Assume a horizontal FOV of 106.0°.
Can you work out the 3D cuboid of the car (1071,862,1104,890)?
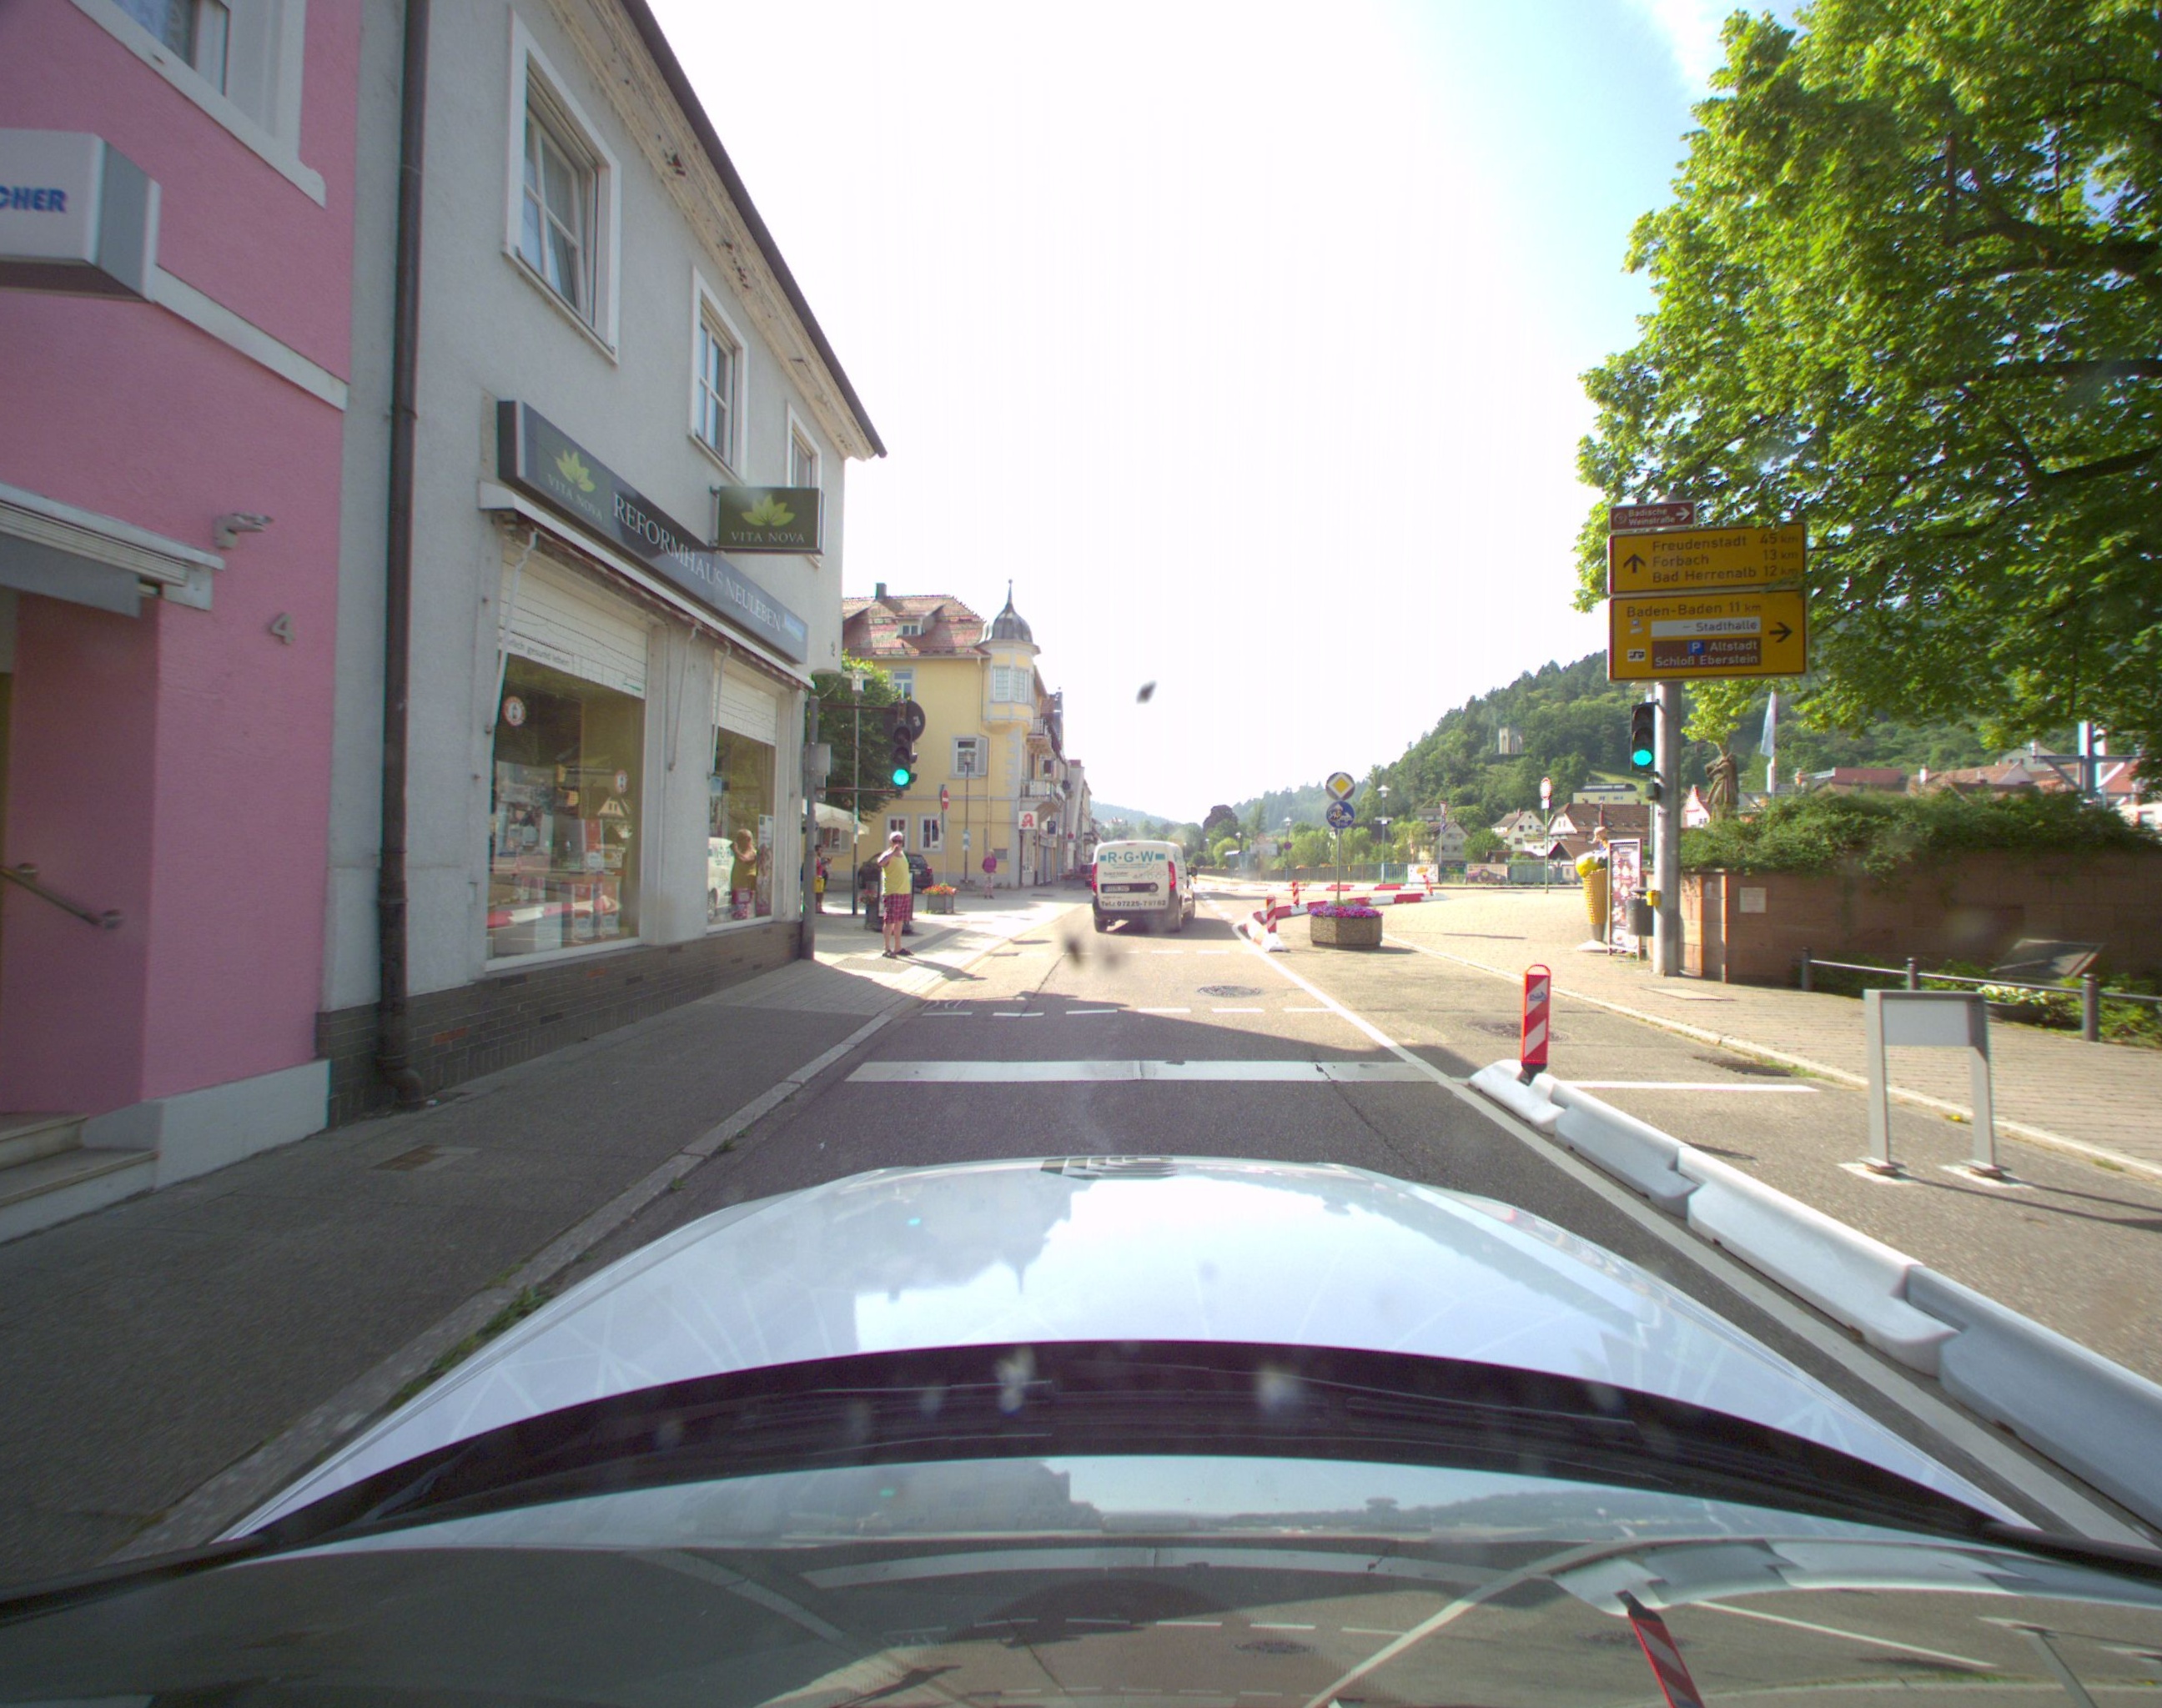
[{"bbox_3d":[0.396,1.233,46.797,1.840,1.568,3.569,0,-1,1],"label":"car"}]

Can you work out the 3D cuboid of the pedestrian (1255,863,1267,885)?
[{"bbox_3d":[14.207,1.563,64.343,0.863,1.706,0.778,1,-1,4],"label":"pedestrian"}]

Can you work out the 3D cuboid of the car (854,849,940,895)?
[{"bbox_3d":[-7.153,0.650,31.375,1.931,1.543,3.918,2,1,-34],"label":"car"}]

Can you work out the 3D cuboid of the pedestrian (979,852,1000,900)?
[{"bbox_3d":[-3.314,0.782,29.497,0.676,1.714,0.617,1,0,-2],"label":"pedestrian"}]

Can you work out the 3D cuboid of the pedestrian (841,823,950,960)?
[{"bbox_3d":[-2.679,0.526,11.811,1.008,1.815,0.913,5,-1,27],"label":"pedestrian"}]

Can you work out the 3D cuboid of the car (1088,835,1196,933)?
[{"bbox_3d":[1.482,0.594,18.041,1.832,1.906,4.328,0,0,12],"label":"car"}]

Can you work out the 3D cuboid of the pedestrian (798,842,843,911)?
[{"bbox_3d":[-6.391,0.566,20.000,0.566,1.659,0.887,1,-3,16],"label":"pedestrian"}]

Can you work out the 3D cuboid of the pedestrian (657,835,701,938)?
[{"bbox_3d":[-7.920,0.629,16.081,0.652,1.985,0.703,1,-1,-18],"label":"pedestrian"}]

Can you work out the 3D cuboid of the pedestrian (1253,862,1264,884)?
[{"bbox_3d":[14.151,1.517,64.999,0.786,1.706,0.492,1,-1,4],"label":"pedestrian"}]

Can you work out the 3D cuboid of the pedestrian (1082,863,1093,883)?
[{"bbox_3d":[0.554,1.627,70.525,0.682,1.696,0.664,-1,-1,30],"label":"pedestrian"}]

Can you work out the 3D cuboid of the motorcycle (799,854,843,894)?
[{"bbox_3d":[-9.586,0.721,30.118,0.882,1.360,2.089,1,2,1],"label":"motorcycle"}]
